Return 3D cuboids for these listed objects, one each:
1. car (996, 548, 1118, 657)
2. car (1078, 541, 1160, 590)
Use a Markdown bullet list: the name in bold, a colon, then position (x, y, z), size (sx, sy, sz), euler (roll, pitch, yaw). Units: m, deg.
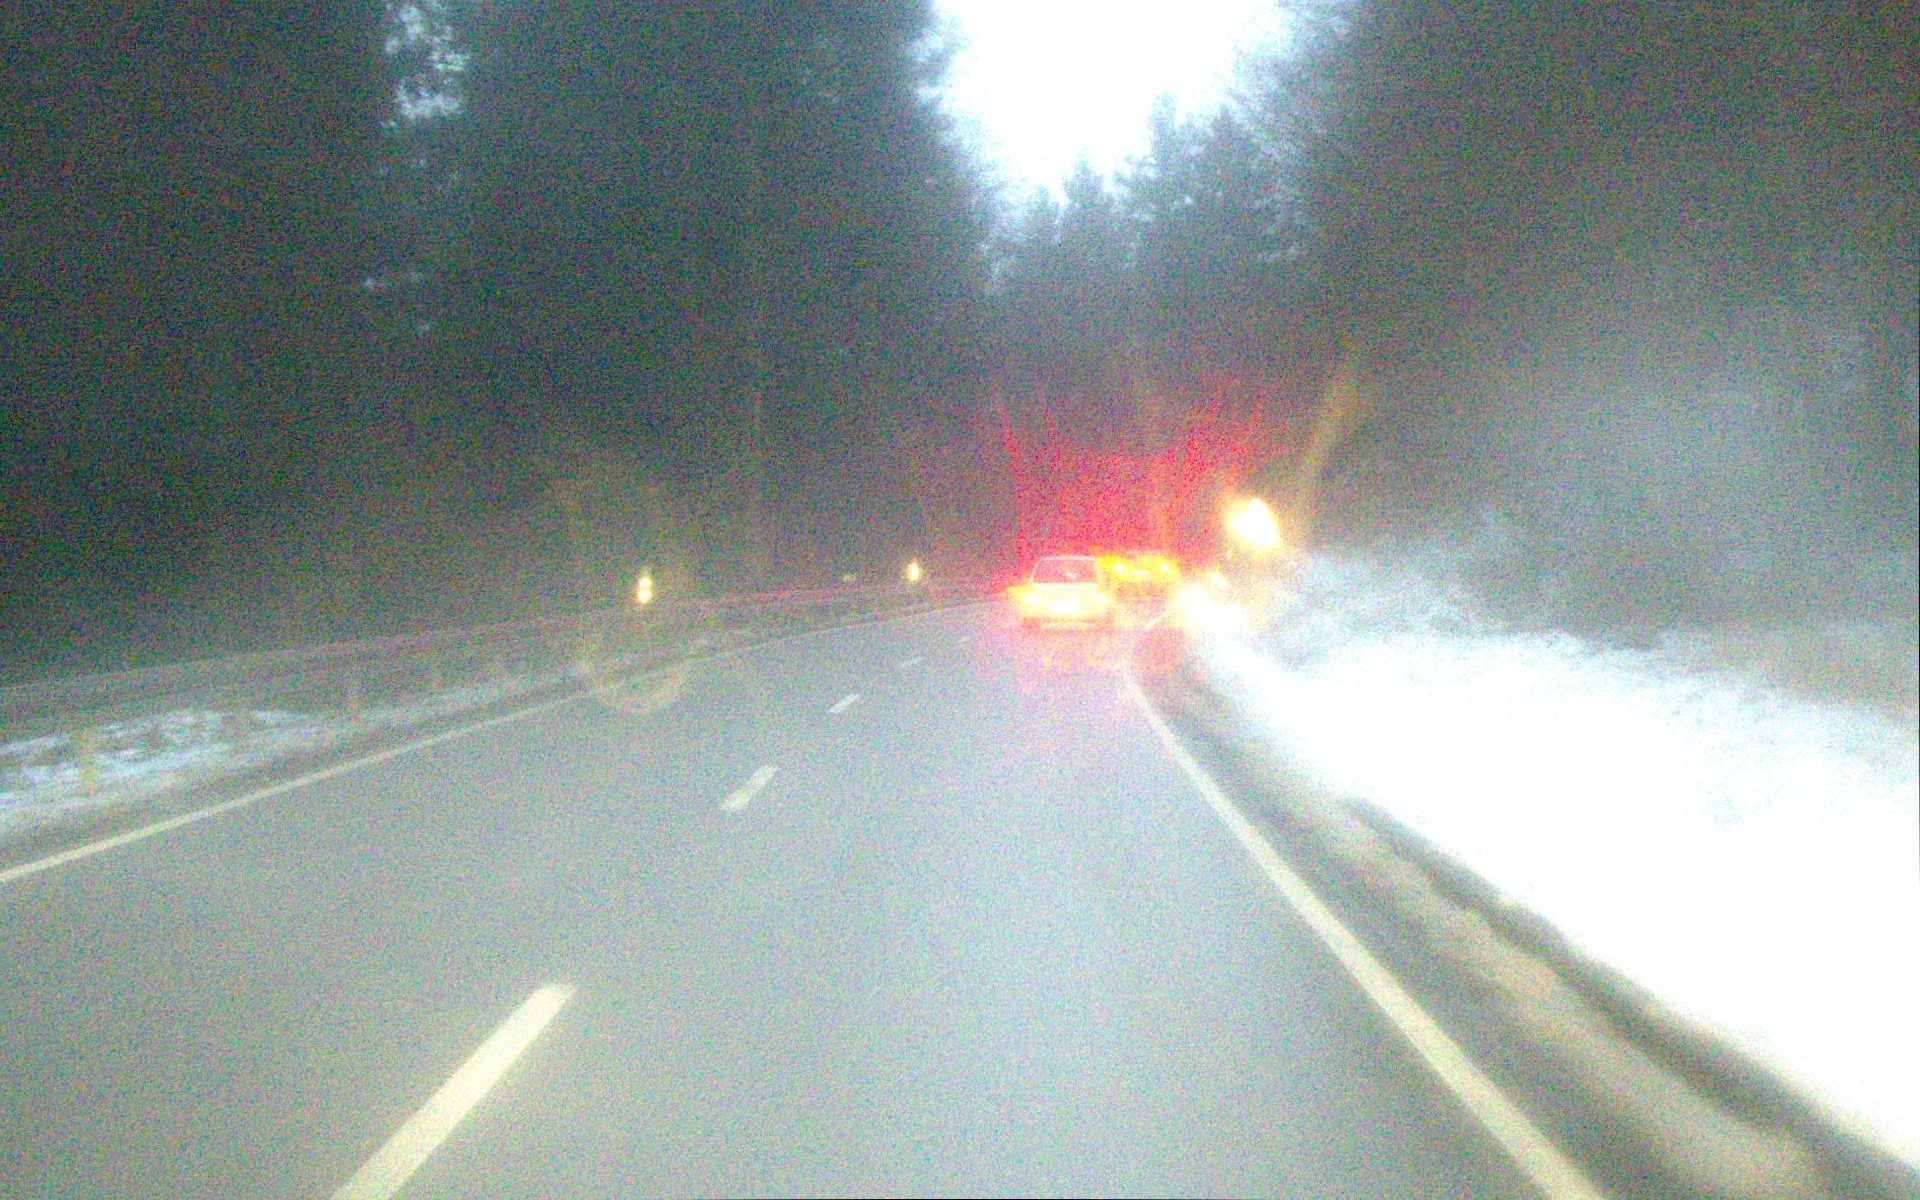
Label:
- **car**: position (1.846, 0.009, 64.134), size (1.994, 1.866, 4.000), euler (-3, 1, 4)
- **car**: position (4.639, -1.006, 100.911), size (1.993, 1.305, 4.000), euler (-3, 1, -2)
